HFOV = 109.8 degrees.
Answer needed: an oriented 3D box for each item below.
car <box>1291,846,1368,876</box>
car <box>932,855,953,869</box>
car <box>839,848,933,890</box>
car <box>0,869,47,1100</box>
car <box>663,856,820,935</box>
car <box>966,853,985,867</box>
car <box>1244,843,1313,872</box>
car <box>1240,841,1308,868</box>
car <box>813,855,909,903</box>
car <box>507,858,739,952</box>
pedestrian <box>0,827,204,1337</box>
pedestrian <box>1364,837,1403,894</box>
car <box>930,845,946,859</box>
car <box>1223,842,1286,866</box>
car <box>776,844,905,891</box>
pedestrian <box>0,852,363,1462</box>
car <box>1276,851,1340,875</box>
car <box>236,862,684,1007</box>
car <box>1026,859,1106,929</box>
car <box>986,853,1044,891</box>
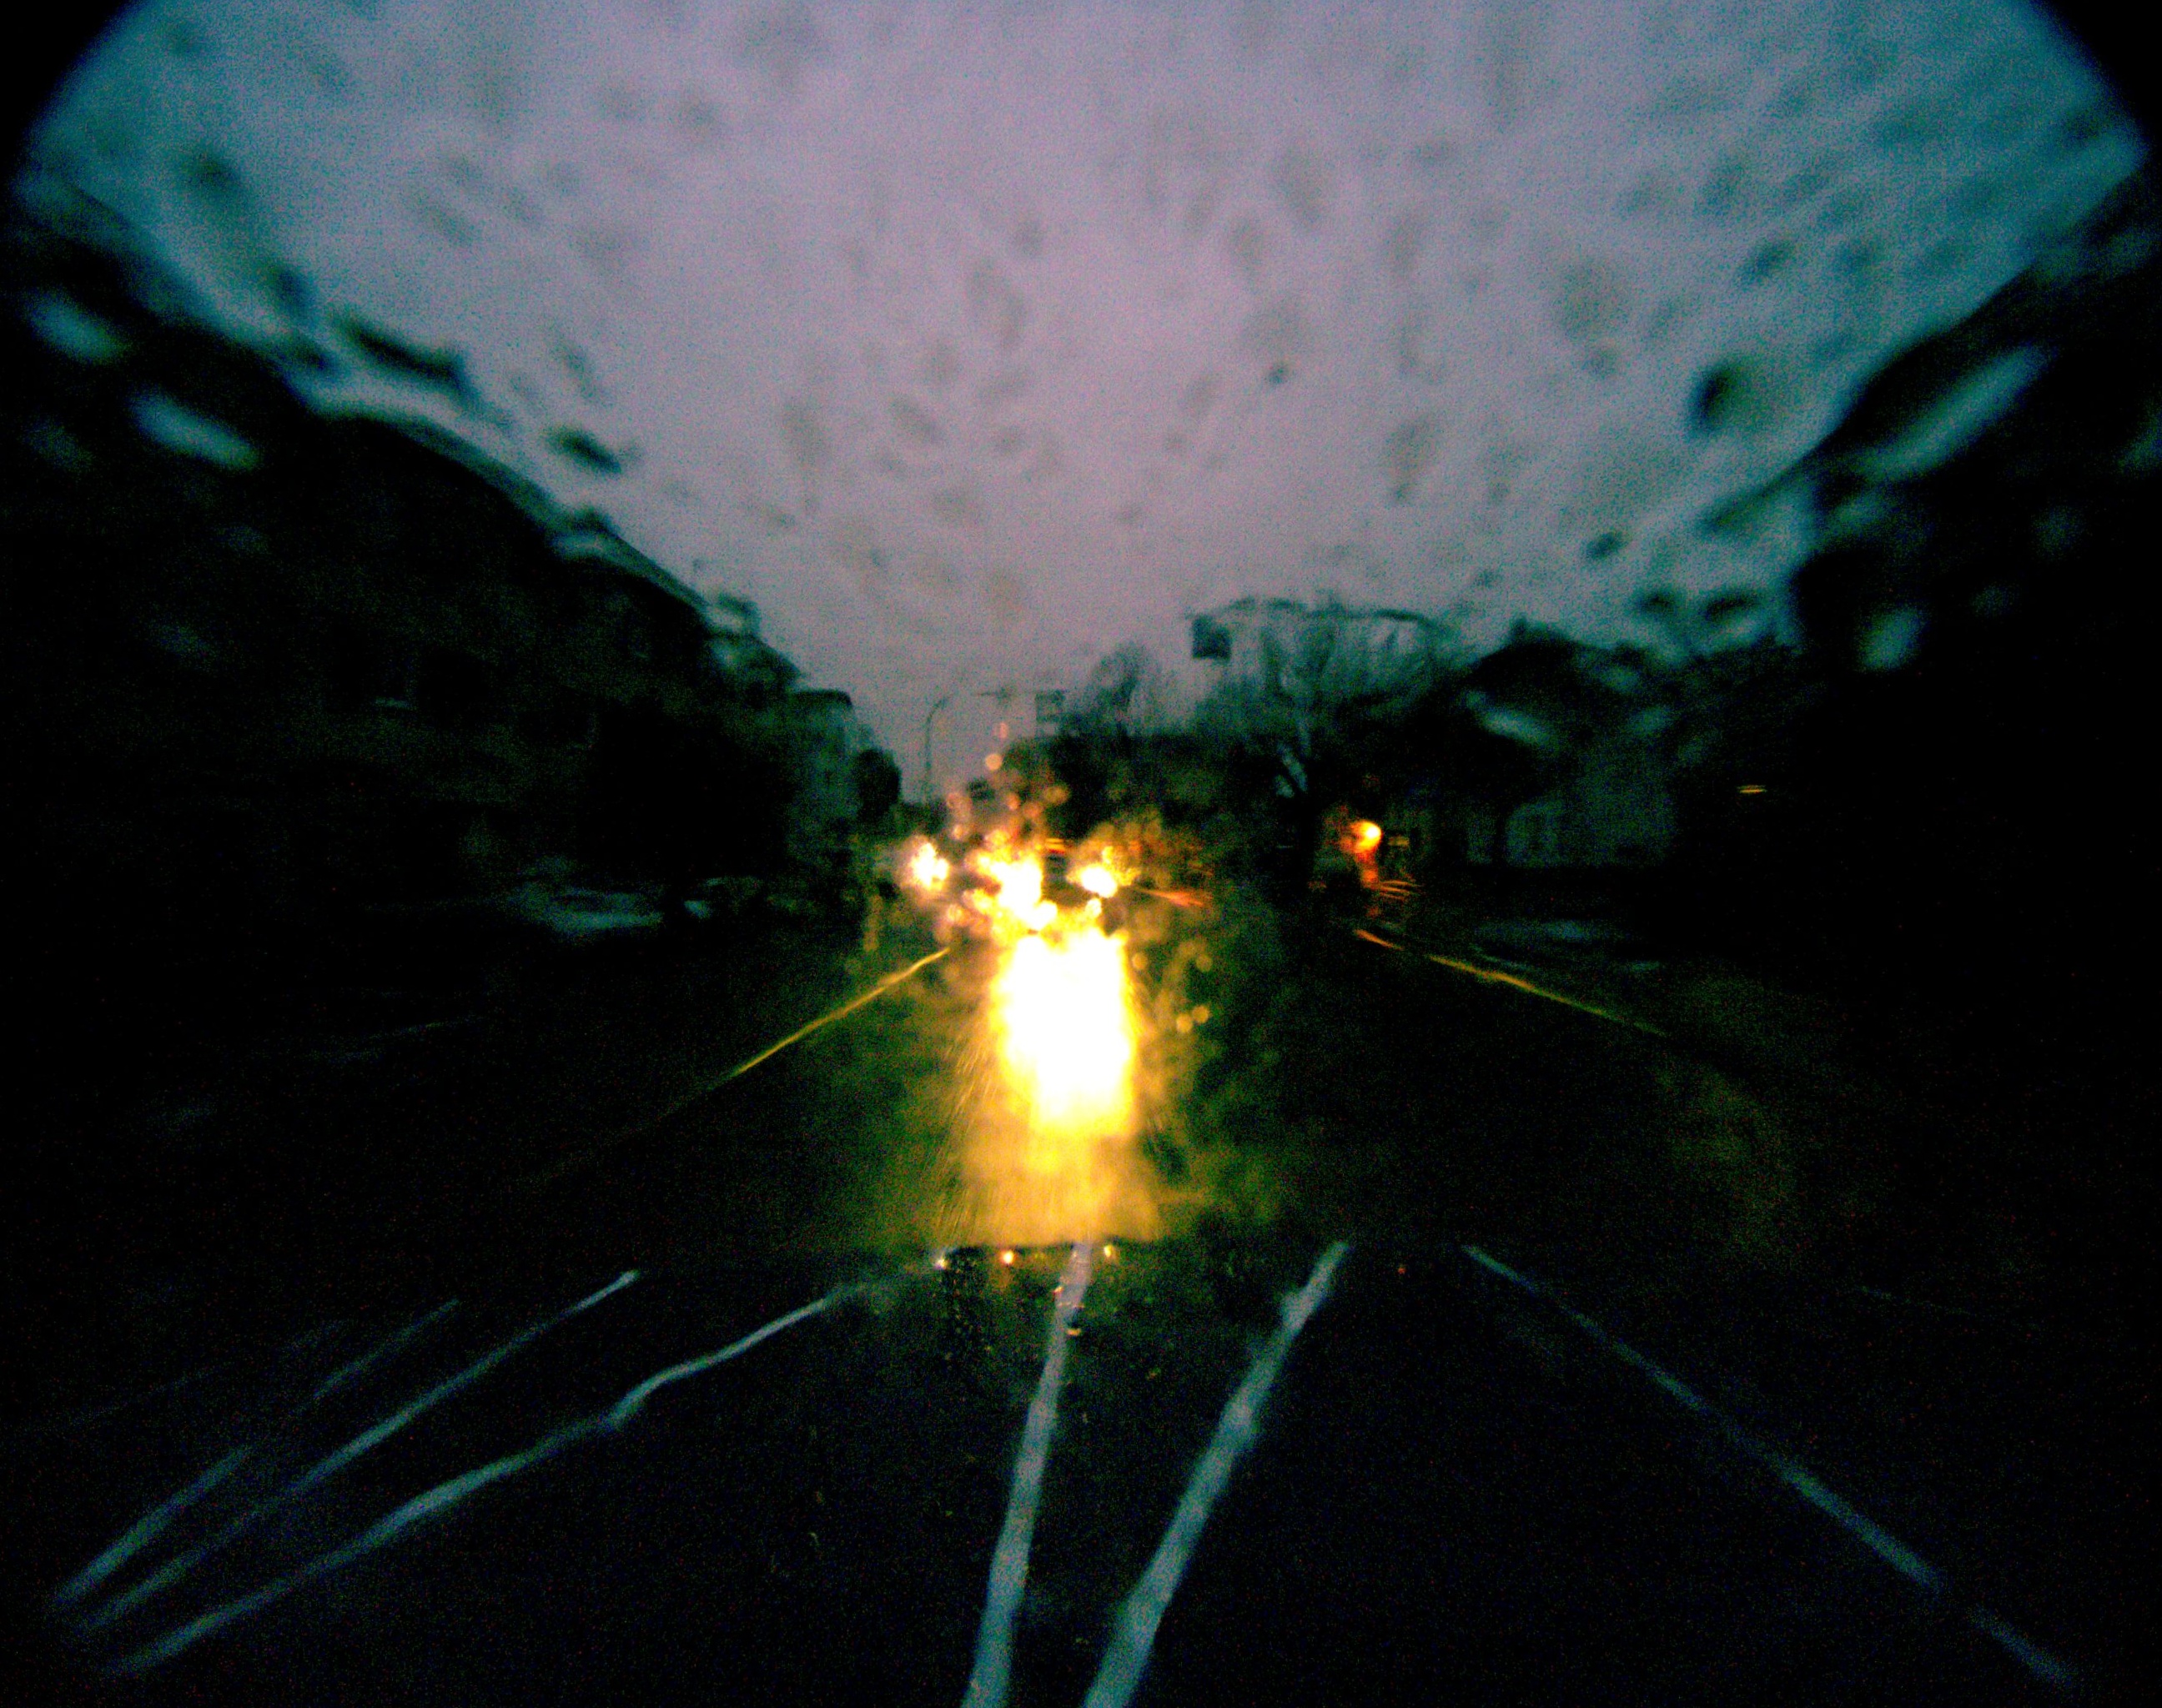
[{"bbox_3d":[12.552,0.333,38.342,3.477,1.401,1.613,-2,0,26],"label":"car"},{"bbox_3d":[-15.887,0.883,87.128,1.903,1.457,3.994,-2,0,-16],"label":"car"},{"bbox_3d":[-9.190,0.688,36.010,4.055,1.832,1.862,1,1,-7],"label":"car"},{"bbox_3d":[-8.520,0.814,4.293,3.224,1.465,1.587,1,0,1],"label":"car"},{"bbox_3d":[-7.029,0.839,15.911,2.590,1.538,1.551,1,0,-2],"label":"car"},{"bbox_3d":[-12.773,0.702,91.819,1.902,1.607,3.822,-2,0,-14],"label":"car"},{"bbox_3d":[11.416,0.210,43.962,3.626,1.602,1.613,-2,1,24],"label":"car"},{"bbox_3d":[11.940,0.059,46.978,3.992,1.623,1.636,0,0,16],"label":"car"},{"bbox_3d":[-7.238,0.809,25.196,2.771,1.465,1.426,1,1,-2],"label":"car"},{"bbox_3d":[-7.828,0.831,13.163,3.072,1.465,1.549,1,1,1],"label":"car"},{"bbox_3d":[-4.070,0.768,2.653,0.850,1.723,0.972,3,1,6],"label":"pedestrian"},{"bbox_3d":[9.387,0.357,23.601,0.881,1.725,0.956,-1,0,6],"label":"pedestrian"},{"bbox_3d":[-20.276,-0.292,107.776,1.839,2.002,3.695,-2,0,-16],"label":"car"},{"bbox_3d":[11.889,-0.005,52.144,3.991,1.623,1.637,0,0,21],"label":"car"},{"bbox_3d":[-10.419,0.591,33.167,4.994,1.878,1.936,1,0,-2],"label":"car"},{"bbox_3d":[-3.350,0.841,2.555,0.869,1.657,0.992,3,1,6],"label":"pedestrian"},{"bbox_3d":[12.286,0.478,41.113,3.048,1.213,1.613,-2,0,24],"label":"car"},{"bbox_3d":[-7.156,0.875,9.052,3.909,1.465,1.751,1,0,1],"label":"car"},{"bbox_3d":[-0.287,0.903,18.784,1.731,1.475,3.604,-2,0,1],"label":"car"},{"bbox_3d":[-3.126,0.806,35.463,1.926,1.608,3.863,-2,0,-16],"label":"car"}]
